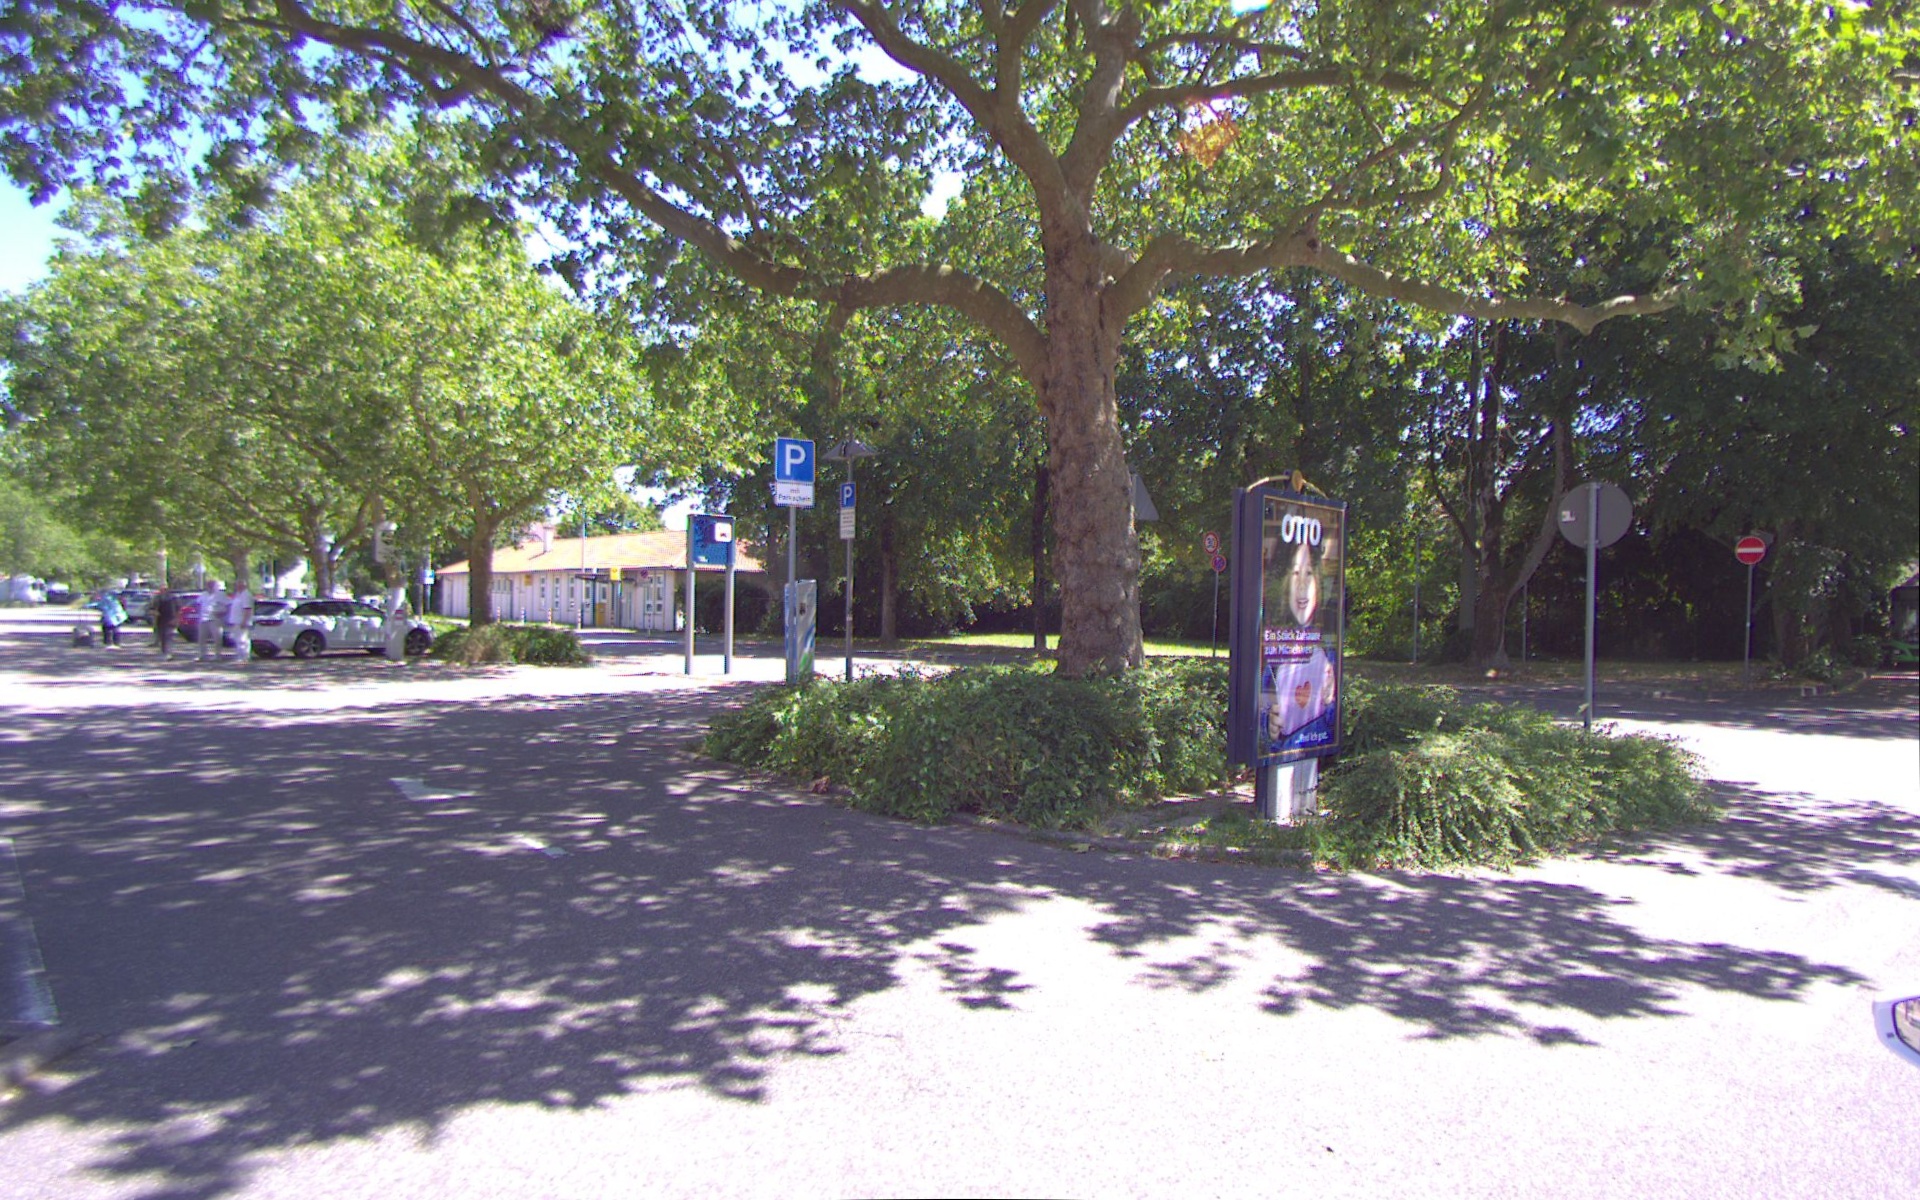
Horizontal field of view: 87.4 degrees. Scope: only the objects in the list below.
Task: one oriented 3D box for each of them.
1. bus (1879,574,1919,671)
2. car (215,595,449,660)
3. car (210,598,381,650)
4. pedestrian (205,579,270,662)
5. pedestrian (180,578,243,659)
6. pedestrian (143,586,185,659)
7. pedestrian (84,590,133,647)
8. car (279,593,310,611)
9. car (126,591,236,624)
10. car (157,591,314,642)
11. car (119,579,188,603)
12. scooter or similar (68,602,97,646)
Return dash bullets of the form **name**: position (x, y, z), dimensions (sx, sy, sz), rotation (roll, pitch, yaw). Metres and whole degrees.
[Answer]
- **bus**: position (38.797, 0.921, 39.743), dimensions (15.847, 3.339, 2.839), rotation (2, 0, -45)
- **car**: position (-15.557, 0.639, 25.221), dimensions (1.753, 1.436, 4.773), rotation (1, 0, 26)
- **car**: position (-19.782, 0.686, 30.126), dimensions (1.840, 1.424, 4.029), rotation (1, 0, 16)
- **pedestrian**: position (-15.995, 0.446, 22.244), dimensions (0.836, 1.794, 0.838), rotation (1, 0, 25)
- **pedestrian**: position (-16.908, 0.409, 22.695), dimensions (0.836, 1.794, 0.838), rotation (1, 0, 27)
- **pedestrian**: position (-17.440, 0.482, 21.998), dimensions (0.602, 1.568, 0.587), rotation (1, -1, 41)
- **pedestrian**: position (-22.168, 0.483, 26.170), dimensions (0.679, 1.443, 0.798), rotation (1, 0, -15)
- **car**: position (-67.603, 0.223, 101.996), dimensions (3.946, 1.798, 1.888), rotation (1, 0, 45)
- **car**: position (-36.685, 0.362, 47.400), dimensions (1.604, 1.479, 3.877), rotation (1, 0, 17)
- **car**: position (-23.140, 0.514, 32.257), dimensions (1.604, 1.479, 3.877), rotation (1, 0, 17)
- **car**: position (-50.649, -0.542, 63.085), dimensions (1.443, 1.413, 3.146), rotation (1, 0, 39)
- **scooter or similar**: position (-22.749, 0.616, 26.054), dimensions (0.396, 1.116, 0.436), rotation (1, 0, -15)
